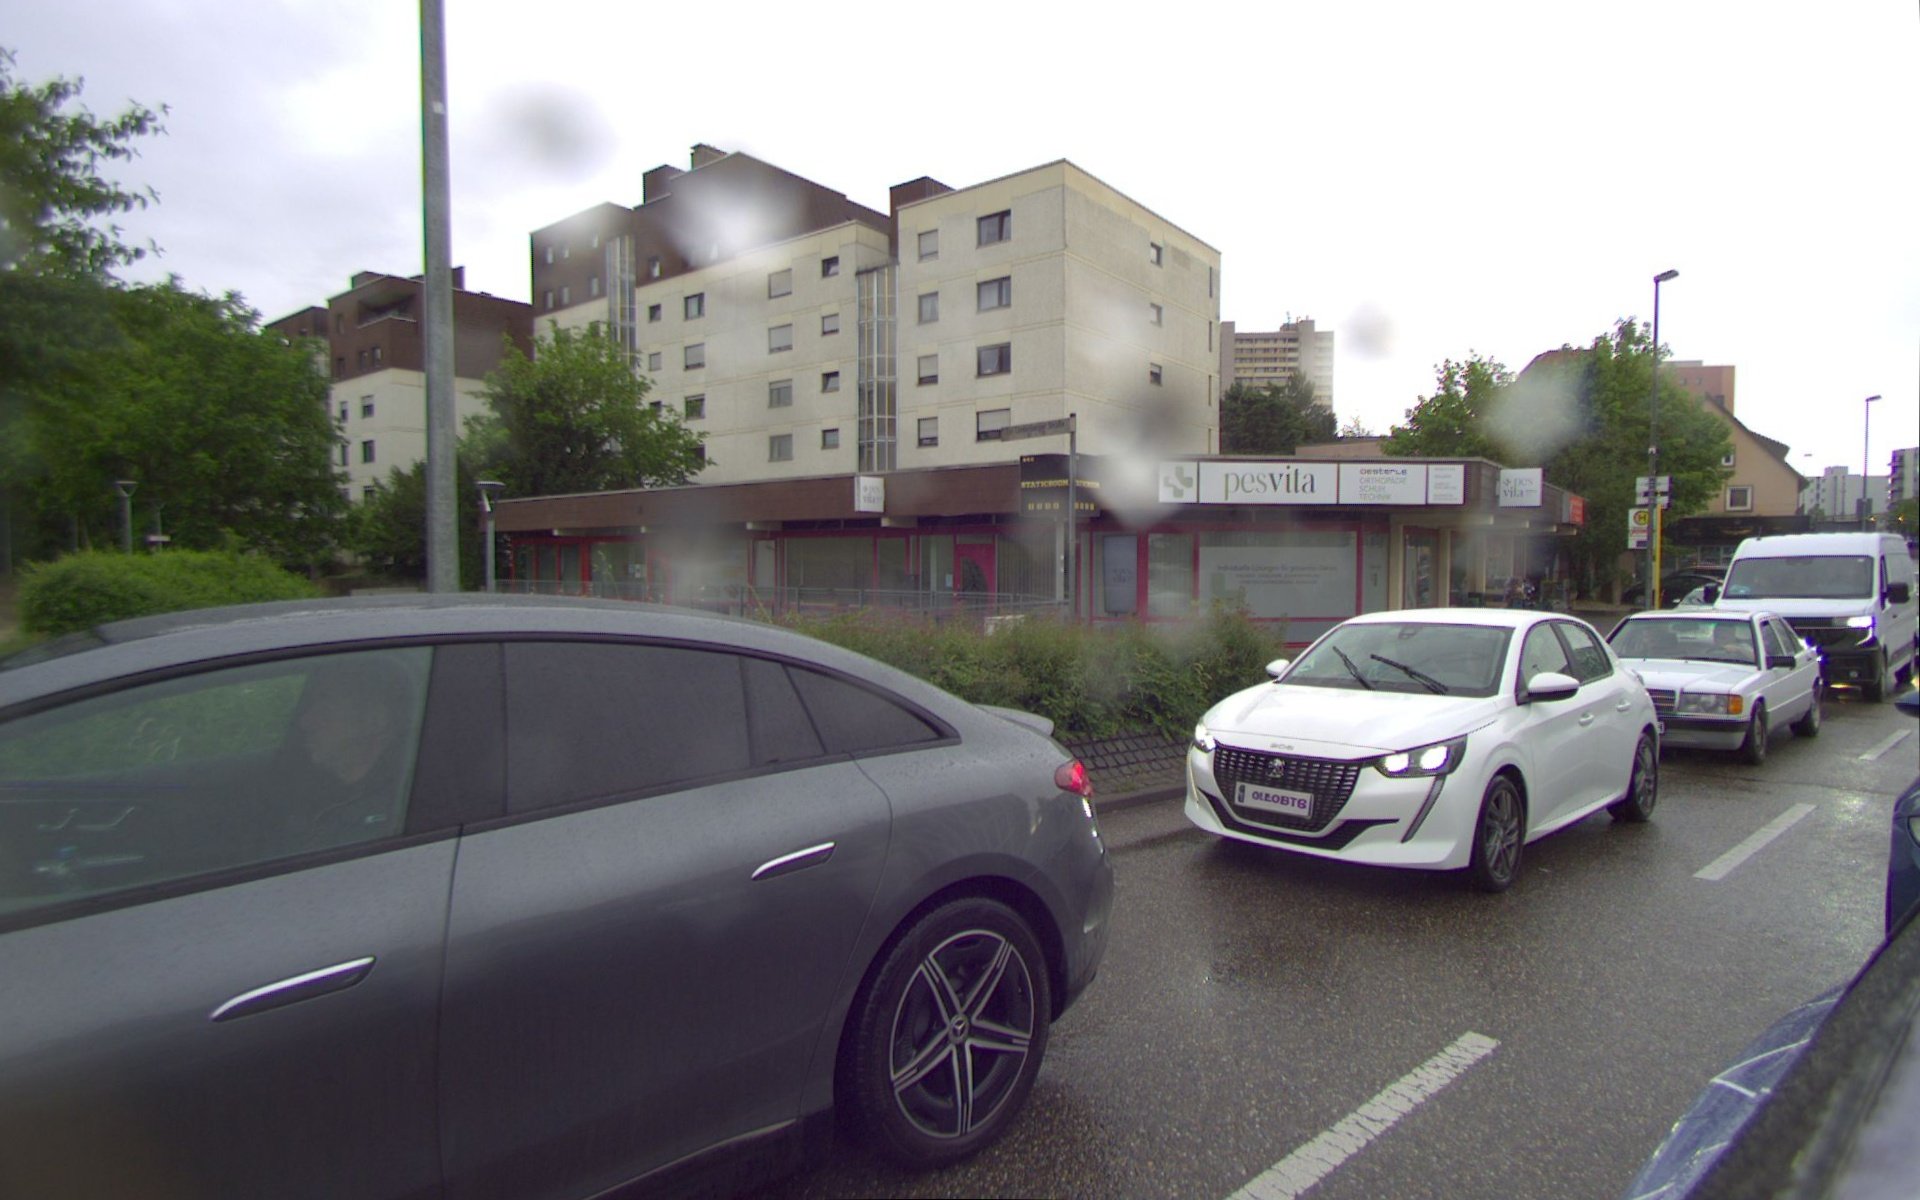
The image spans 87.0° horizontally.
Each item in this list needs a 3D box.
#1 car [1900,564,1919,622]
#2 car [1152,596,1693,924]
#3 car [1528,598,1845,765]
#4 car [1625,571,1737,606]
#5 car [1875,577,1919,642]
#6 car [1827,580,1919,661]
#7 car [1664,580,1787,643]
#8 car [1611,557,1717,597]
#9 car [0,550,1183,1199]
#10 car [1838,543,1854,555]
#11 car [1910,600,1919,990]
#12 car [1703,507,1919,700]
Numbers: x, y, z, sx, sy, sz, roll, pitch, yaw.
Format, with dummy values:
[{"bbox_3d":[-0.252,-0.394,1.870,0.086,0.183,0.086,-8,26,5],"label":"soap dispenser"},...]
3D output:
[{"bbox_3d":[35.697,-0.263,36.614,3.930,2.038,1.998,-1,3,-40],"label":"car"},{"bbox_3d":[3.164,0.711,6.521,4.043,1.433,1.665,-1,1,-41],"label":"car"},{"bbox_3d":[7.697,0.683,10.578,4.089,1.362,1.787,-1,1,-41],"label":"car"},{"bbox_3d":[32.191,-0.534,45.249,3.981,1.445,1.858,2,2,39],"label":"car"},{"bbox_3d":[25.305,0.197,26.270,3.933,1.588,1.996,-2,1,-43],"label":"car"},{"bbox_3d":[19.937,0.367,21.449,3.930,1.558,1.802,-1,2,-41],"label":"car"},{"bbox_3d":[20.123,0.249,26.561,3.930,1.509,1.787,-1,1,-41],"label":"car"},{"bbox_3d":[33.070,-1.081,47.598,3.981,1.801,1.858,2,2,39],"label":"car"},{"bbox_3d":[-1.648,0.677,2.395,4.724,1.485,1.840,0,-1,-41],"label":"car"},{"bbox_3d":[139.517,-8.031,159.418,1.657,1.654,3.754,1,1,37],"label":"car"},{"bbox_3d":[5.456,0.697,4.398,3.933,1.406,1.690,-1,1,-43],"label":"car"},{"bbox_3d":[13.961,-0.034,16.302,6.021,2.549,2.194,-2,2,-43],"label":"car"}]
